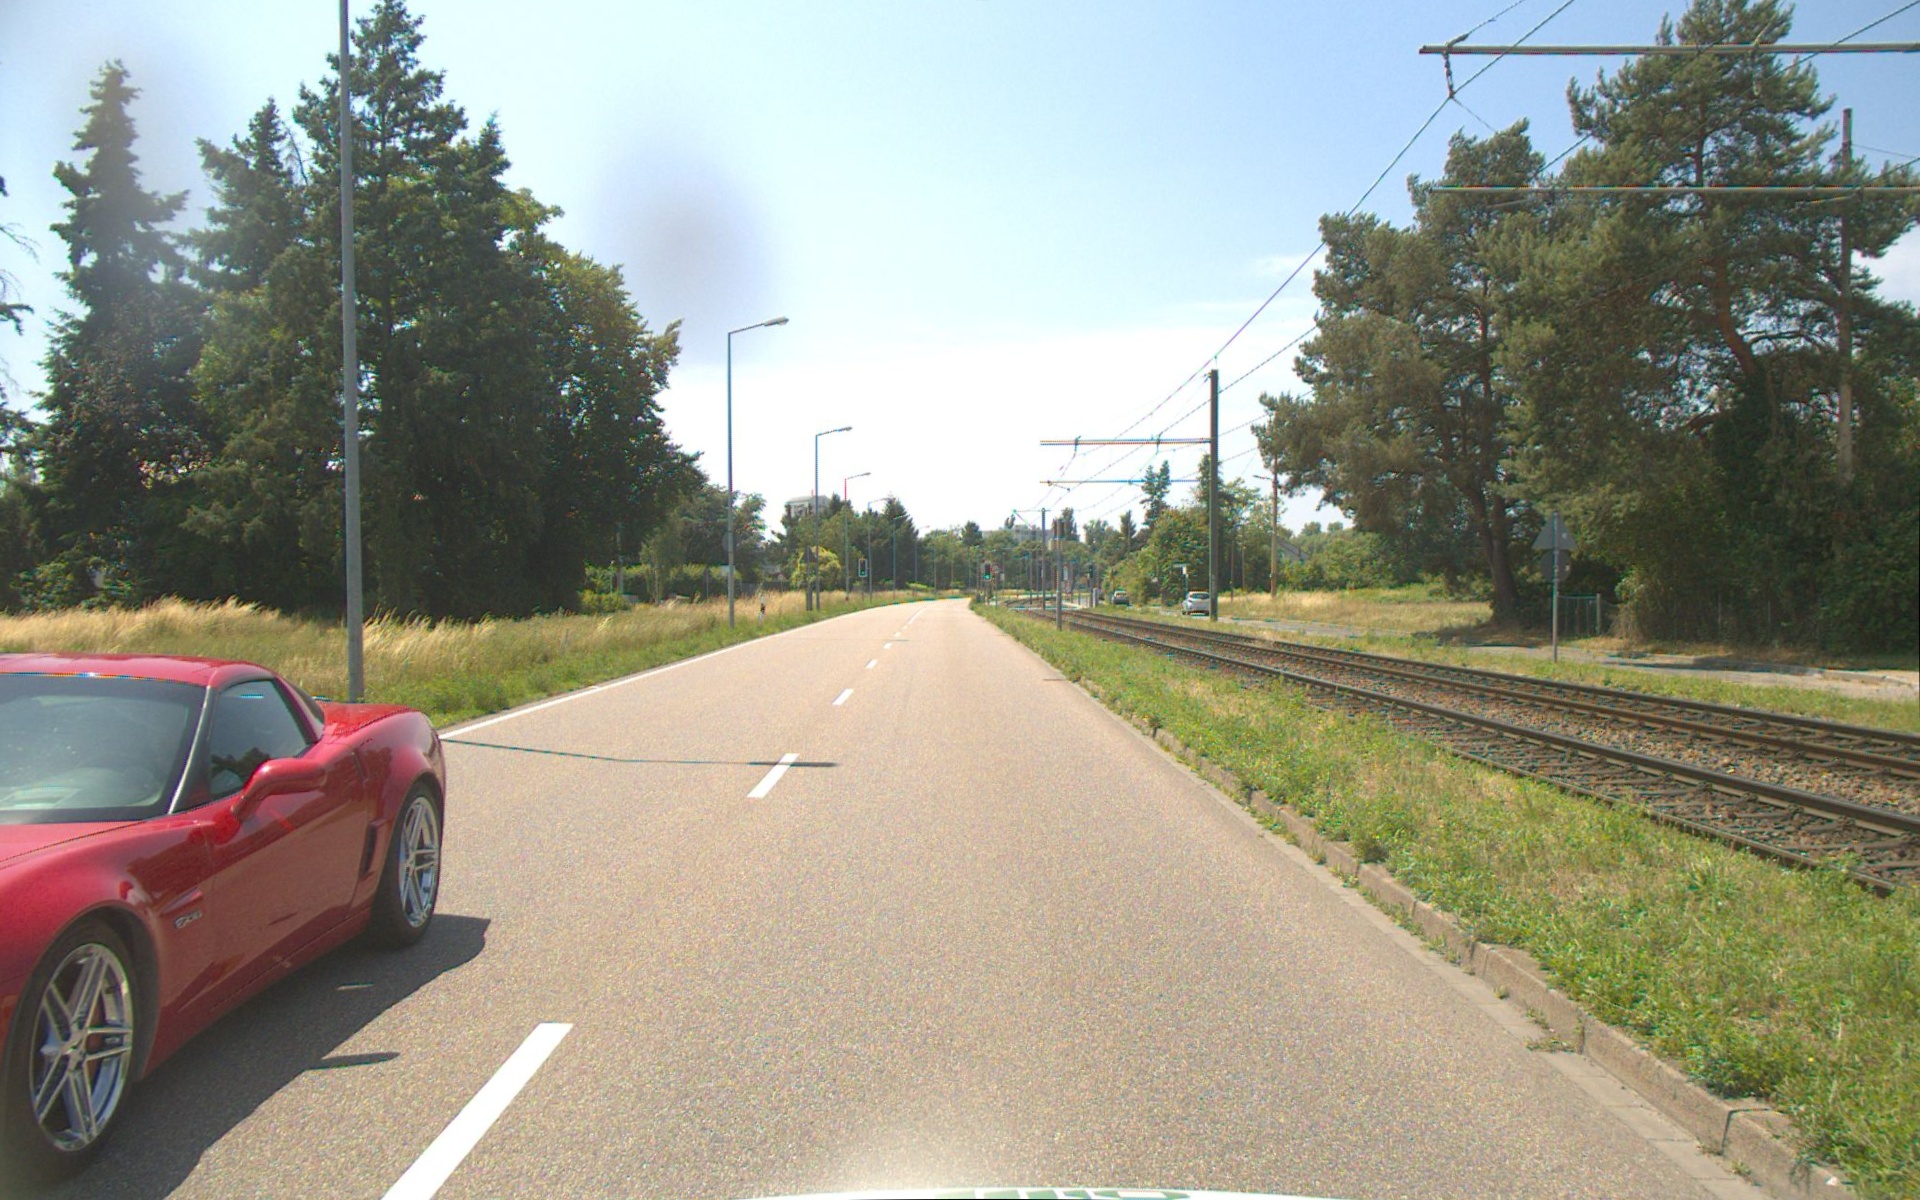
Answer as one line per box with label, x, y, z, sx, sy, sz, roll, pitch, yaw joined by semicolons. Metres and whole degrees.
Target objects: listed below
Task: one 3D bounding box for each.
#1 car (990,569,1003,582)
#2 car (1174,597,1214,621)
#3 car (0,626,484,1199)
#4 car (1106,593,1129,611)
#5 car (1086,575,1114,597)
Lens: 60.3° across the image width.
car;4.794;-3.235;216.061;1.520;1.613;3.568;-1;-1;-1
car;14.934;0.582;105.848;1.953;1.534;3.999;-1;-1;-1
car;-3.034;0.766;5.384;1.770;1.308;4.285;-1;-1;-1
car;15.354;0.170;161.372;1.876;1.691;3.999;-1;-1;-1
car;10.424;-1.021;123.688;1.709;1.586;3.999;-1;-1;-1
